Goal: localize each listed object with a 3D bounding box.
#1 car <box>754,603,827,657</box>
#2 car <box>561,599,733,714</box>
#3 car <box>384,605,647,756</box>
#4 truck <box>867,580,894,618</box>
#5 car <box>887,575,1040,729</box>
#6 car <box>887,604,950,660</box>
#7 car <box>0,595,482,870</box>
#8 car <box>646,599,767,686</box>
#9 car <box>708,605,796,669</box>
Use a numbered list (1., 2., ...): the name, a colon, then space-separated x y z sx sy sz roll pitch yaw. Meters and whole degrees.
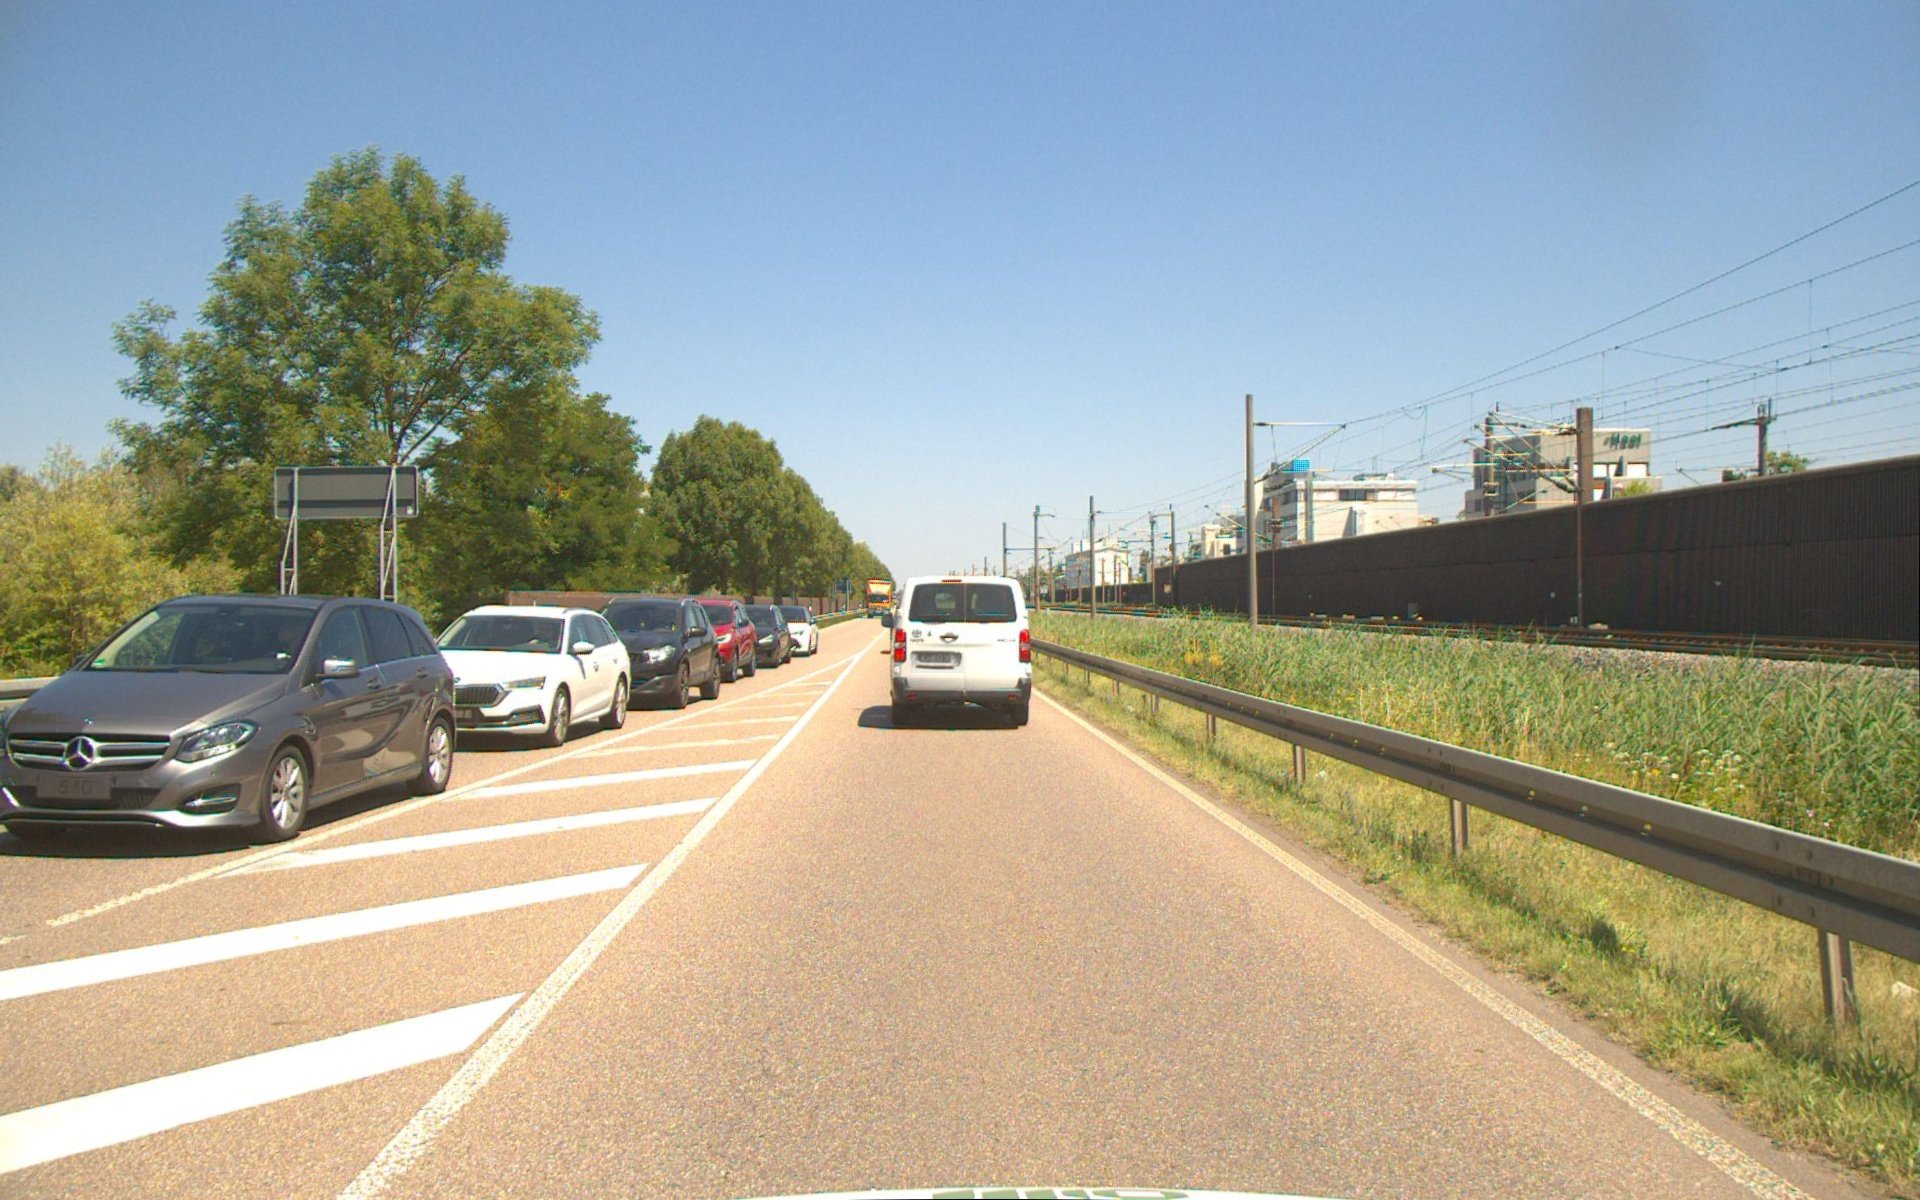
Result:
1. car: -4.975 0.868 48.980 1.651 1.485 4.615 1 0 0
2. car: -4.760 0.806 25.794 1.681 1.617 4.535 1 0 2
3. car: -4.949 0.824 19.076 1.619 1.504 4.631 1 0 2
4. truck: -8.519 -0.062 178.522 2.736 3.907 9.320 0 0 -2
5. car: -0.025 0.679 23.166 1.906 1.914 4.879 1 -1 -2
6. car: -1.369 0.996 52.844 1.868 1.678 4.138 1 0 -3
7. car: -4.895 0.764 11.664 1.590 1.564 4.385 -1 0 3
8. car: -5.143 0.819 34.075 1.719 1.660 4.280 1 0 1
9. car: -5.114 0.878 41.134 1.651 1.485 4.615 1 0 -1
